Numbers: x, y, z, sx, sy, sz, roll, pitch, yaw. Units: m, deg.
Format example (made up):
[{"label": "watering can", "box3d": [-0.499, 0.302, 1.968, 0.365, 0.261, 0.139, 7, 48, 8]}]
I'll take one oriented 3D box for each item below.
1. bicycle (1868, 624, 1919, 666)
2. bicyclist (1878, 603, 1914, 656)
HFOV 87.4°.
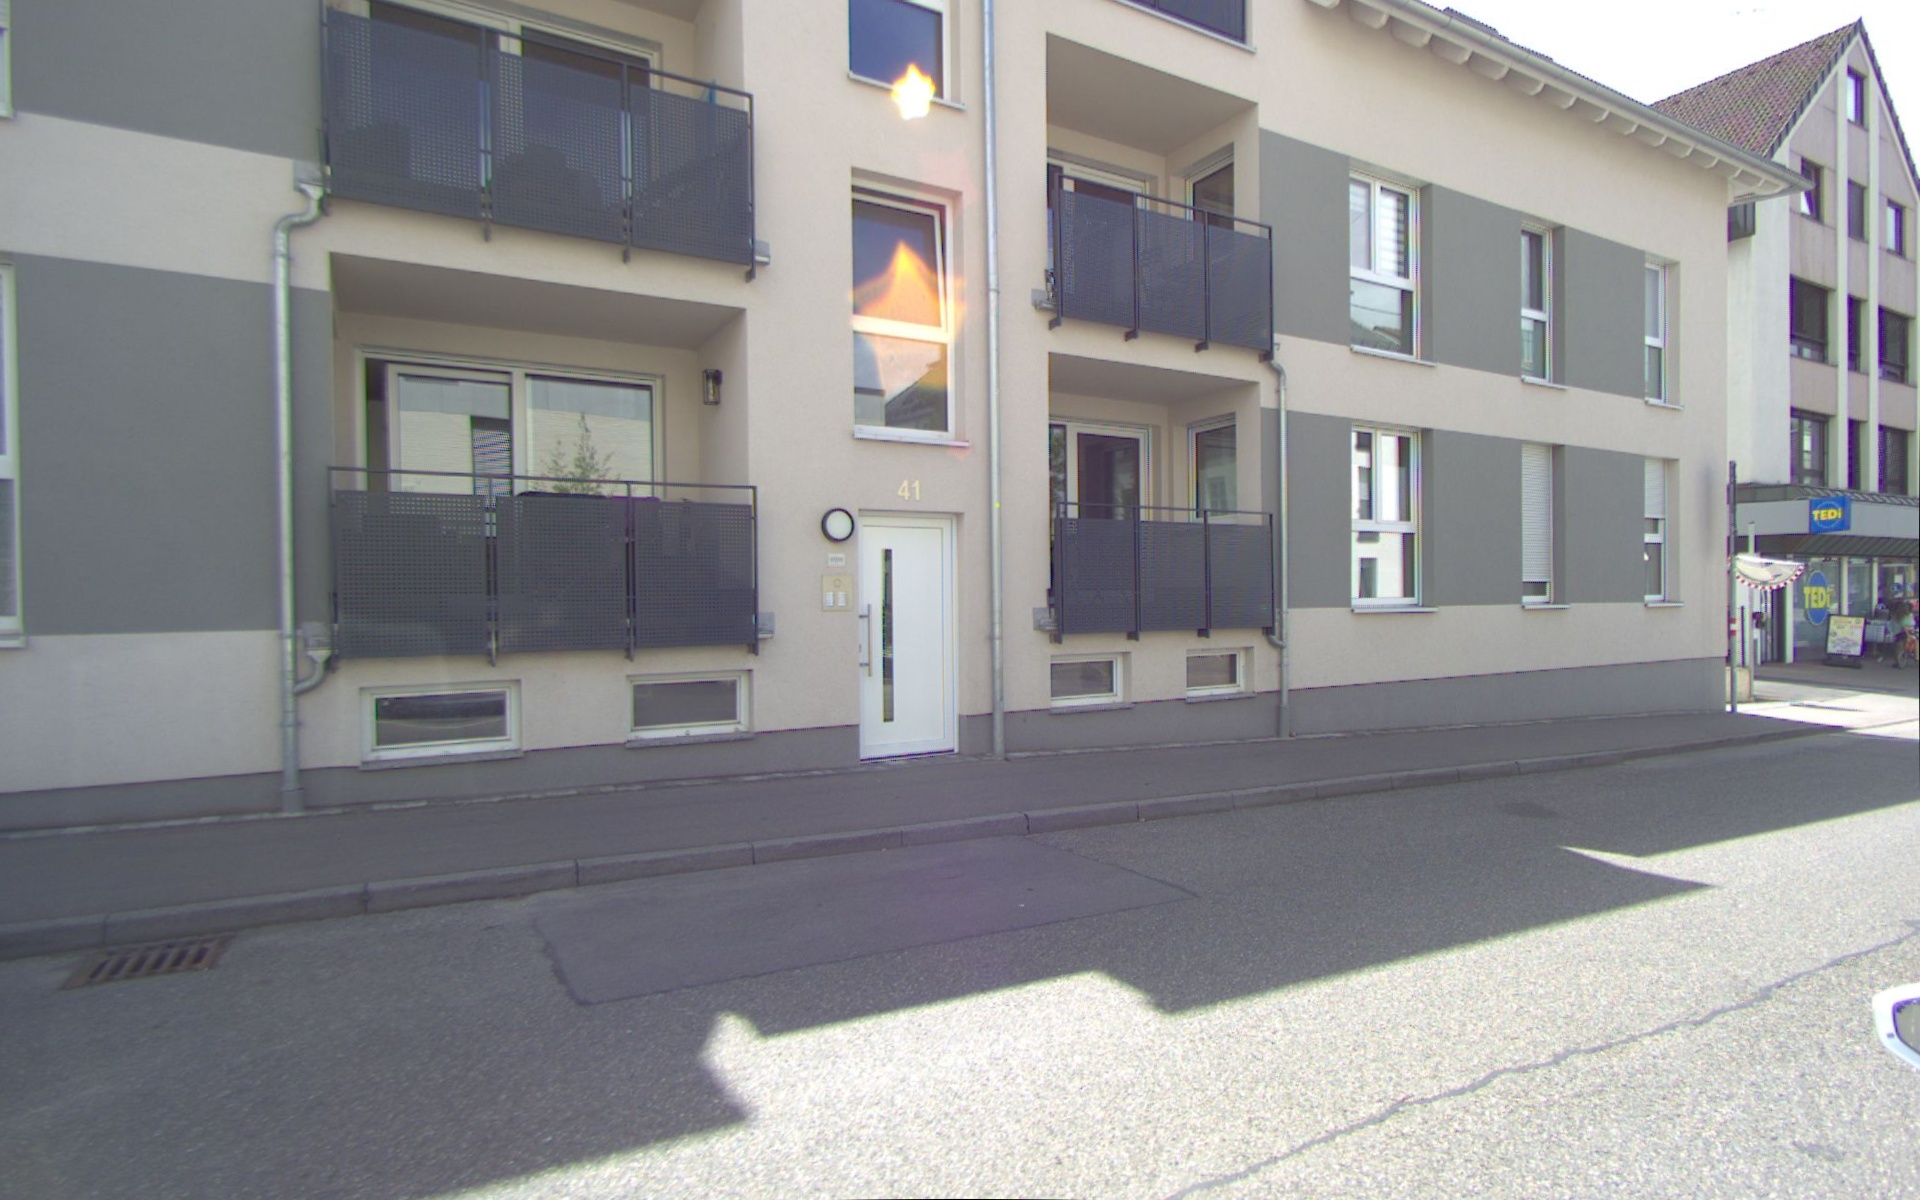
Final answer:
[{"label": "bicycle", "box3d": [21.552, 1.019, 23.124, 1.756, 0.873, 0.464, -1, 2, -31]}, {"label": "bicyclist", "box3d": [21.554, 0.679, 23.123, 0.617, 1.194, 0.455, 1, -1, -30]}]
